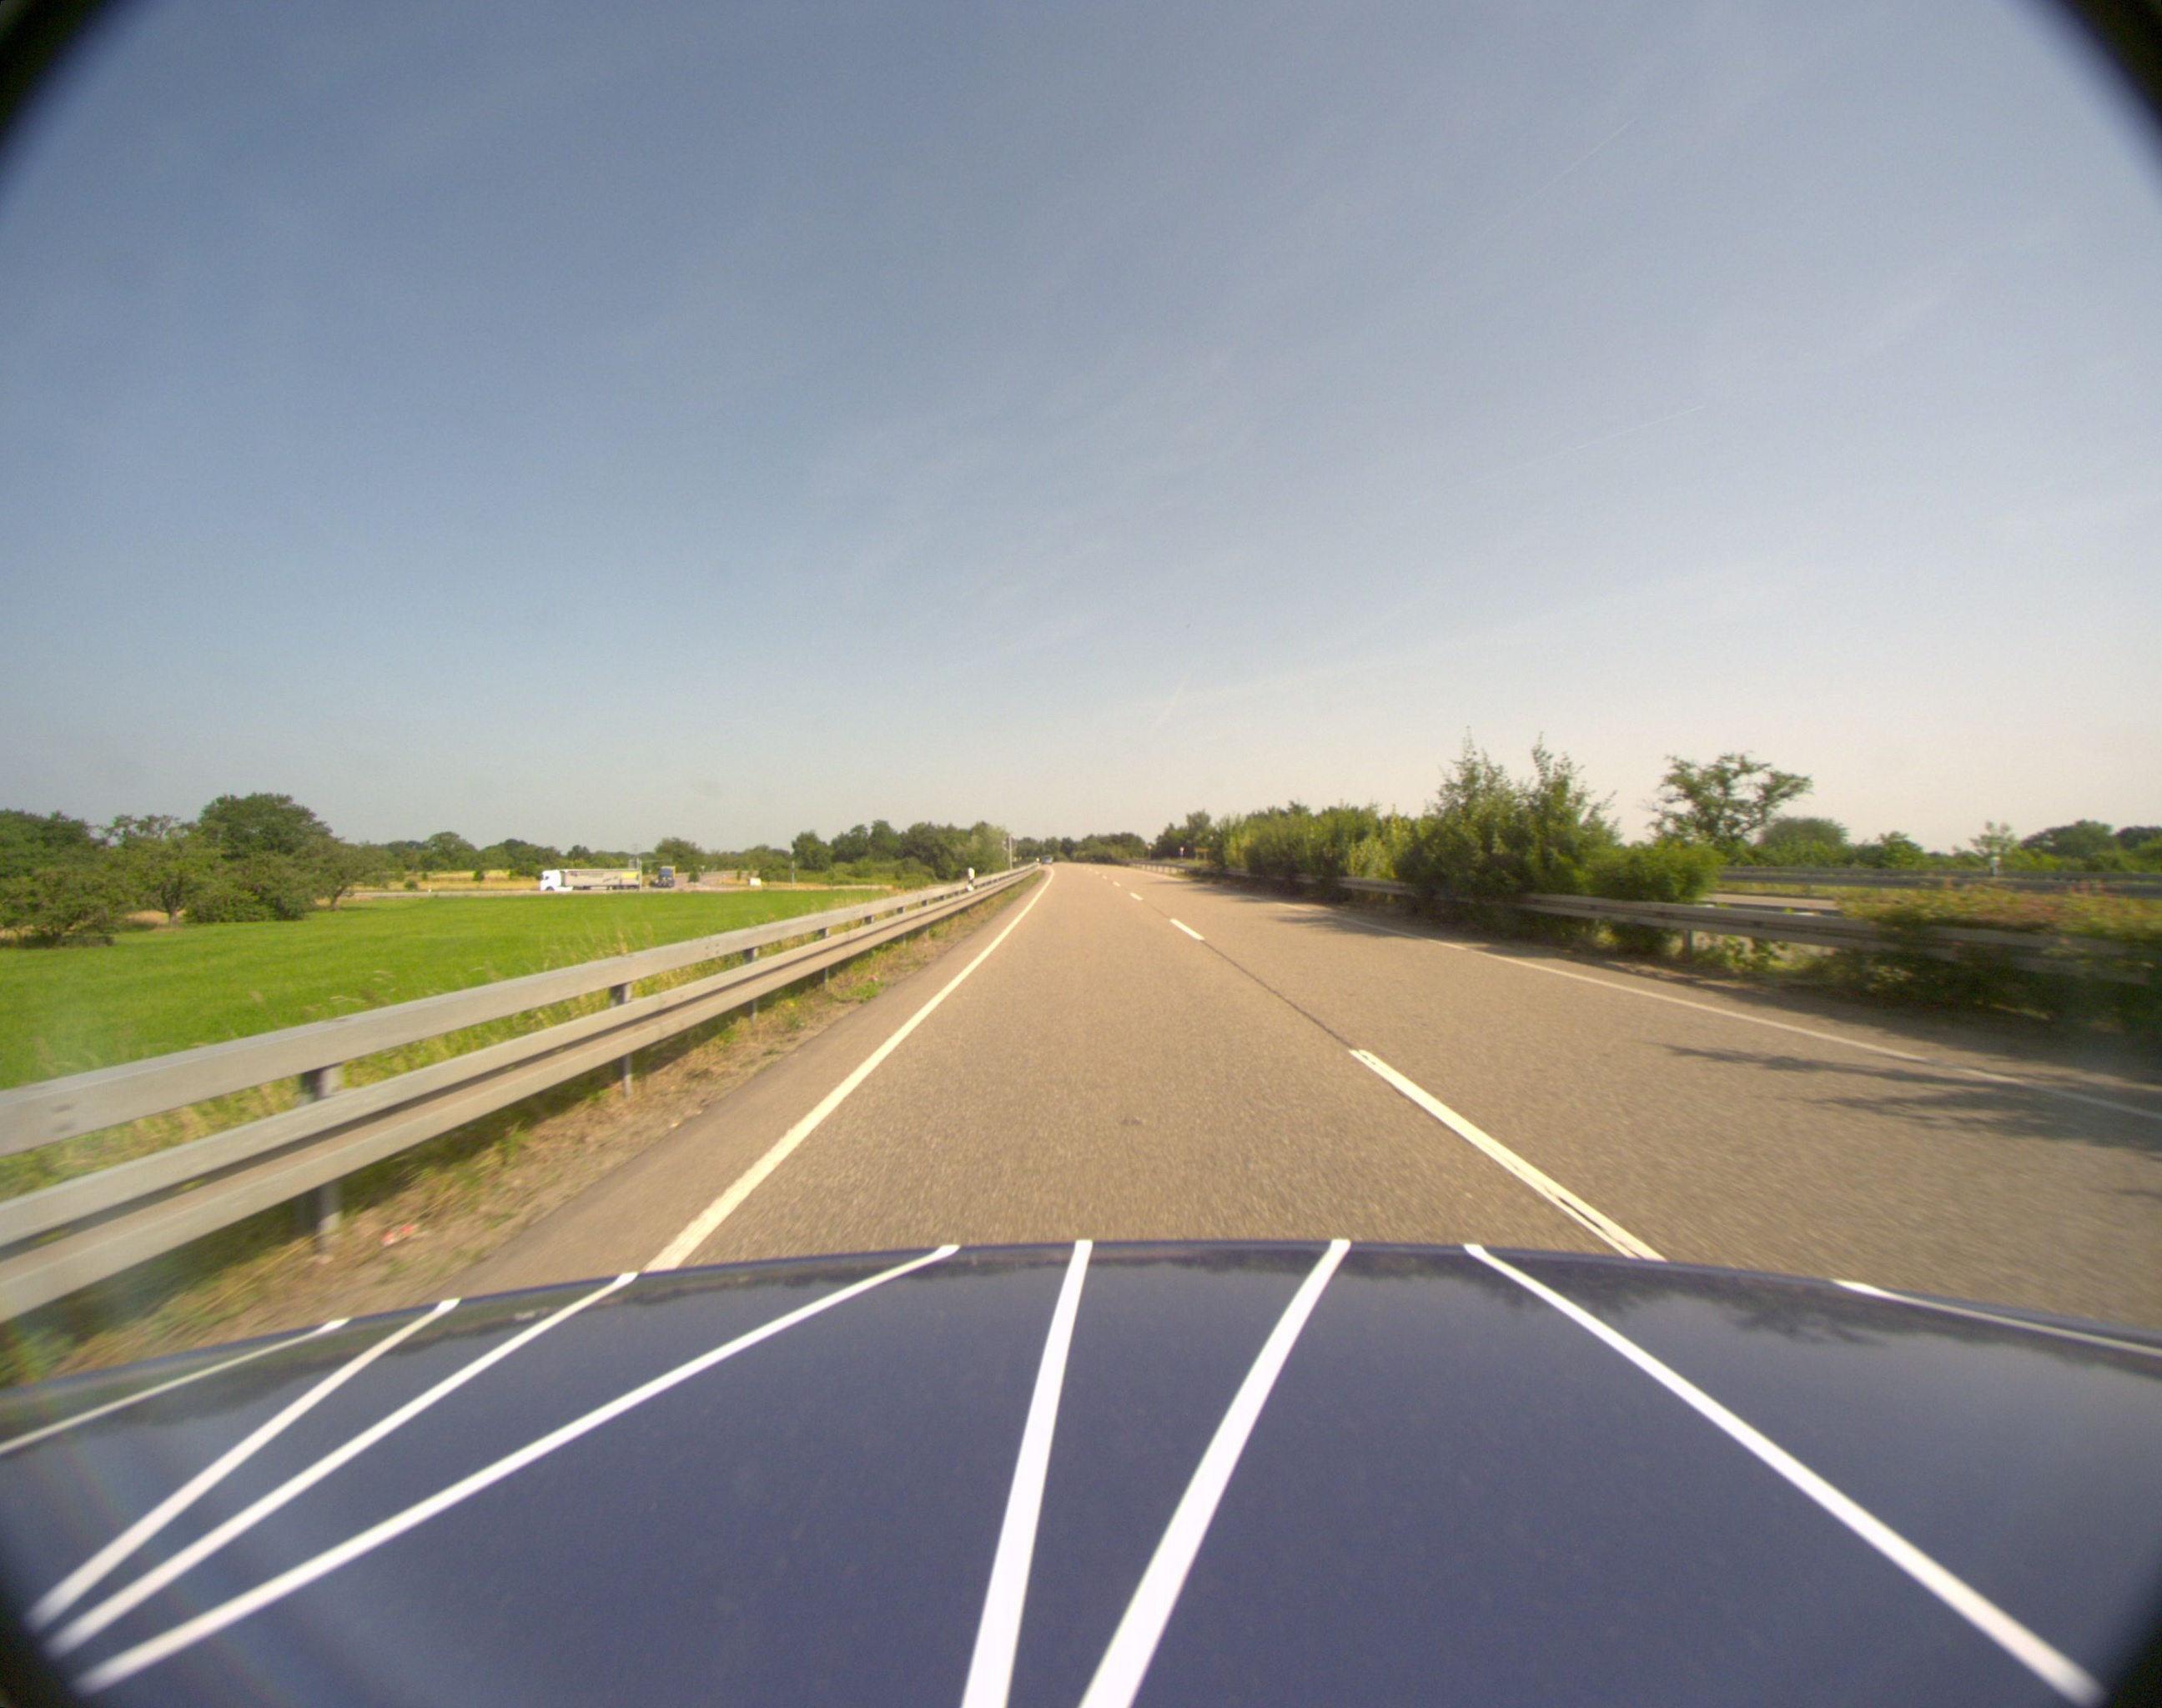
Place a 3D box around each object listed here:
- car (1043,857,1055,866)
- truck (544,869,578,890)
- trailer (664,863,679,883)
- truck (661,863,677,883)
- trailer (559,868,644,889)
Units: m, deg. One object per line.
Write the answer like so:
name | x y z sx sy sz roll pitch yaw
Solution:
car | -5.638 1.336 134.297 1.703 1.474 3.598 -2 -1 -8
truck | -95.462 4.655 139.493 4.951 3.656 2.103 -1 0 -33
trailer | -89.629 4.048 166.312 2.265 4.145 14.394 0 0 -26
truck | -86.859 4.002 160.292 2.264 4.145 4.364 0 0 -20
trailer | -91.187 4.672 144.949 2.102 3.631 13.959 -1 0 34
